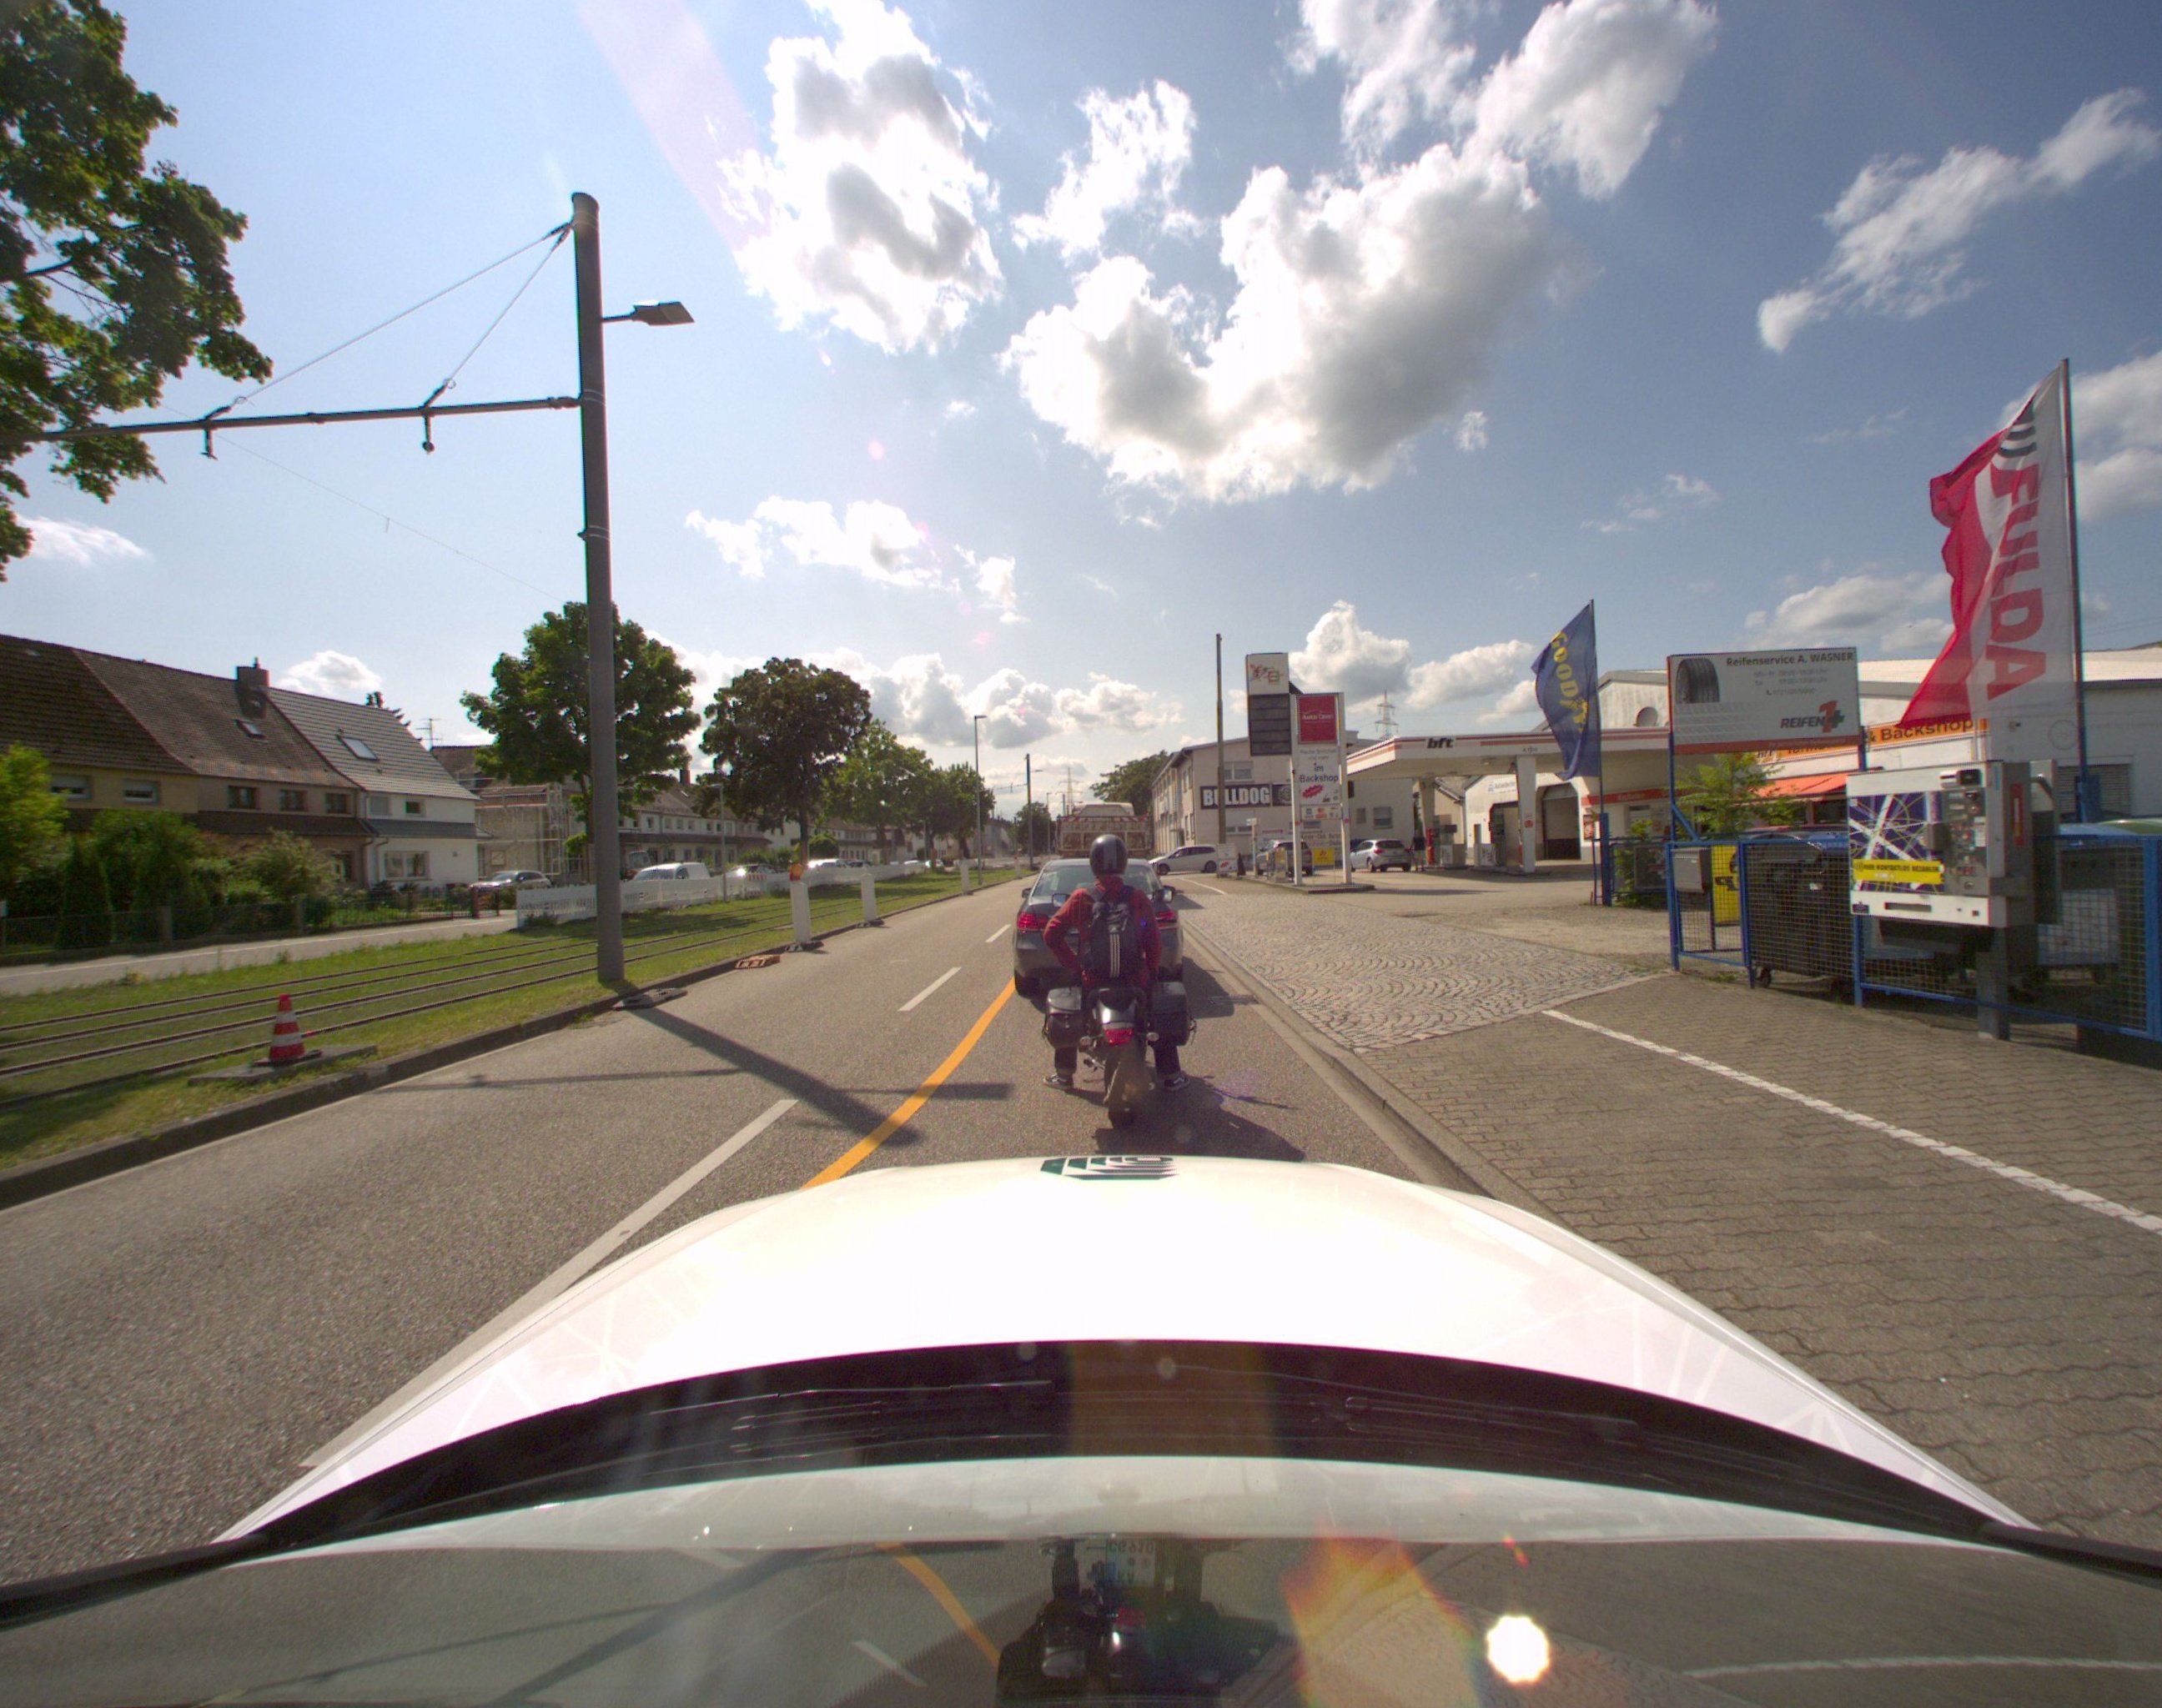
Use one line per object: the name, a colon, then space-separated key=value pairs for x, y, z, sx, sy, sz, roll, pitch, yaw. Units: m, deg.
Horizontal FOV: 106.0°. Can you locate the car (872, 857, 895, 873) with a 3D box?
car: x=-24.048 y=1.341 z=99.338 sx=1.692 sy=1.739 sz=4.064 roll=-2 pitch=0 yaw=2

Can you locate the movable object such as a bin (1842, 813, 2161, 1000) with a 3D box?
movable object such as a bin: x=8.107 y=0.416 z=7.278 sx=1.222 sy=1.454 sz=1.455 roll=-2 pitch=0 yaw=0

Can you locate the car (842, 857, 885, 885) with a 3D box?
car: x=-14.866 y=1.143 z=55.755 sx=1.692 sy=1.739 sz=3.862 roll=-2 pitch=0 yaw=2

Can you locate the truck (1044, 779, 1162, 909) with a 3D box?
truck: x=0.645 y=-0.280 z=25.602 sx=2.960 sy=3.304 sz=8.407 roll=-2 pitch=0 yaw=1

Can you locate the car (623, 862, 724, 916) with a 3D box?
car: x=-15.415 y=1.280 z=31.053 sx=1.692 sy=1.817 sz=3.862 roll=-2 pitch=0 yaw=2

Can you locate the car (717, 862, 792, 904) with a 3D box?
car: x=-15.323 y=1.327 z=38.484 sx=1.692 sy=1.739 sz=4.056 roll=-2 pitch=0 yaw=2

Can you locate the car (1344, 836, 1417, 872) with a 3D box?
car: x=13.541 y=-0.021 z=37.067 sx=1.826 sy=1.479 sz=4.009 roll=-3 pitch=0 yaw=1

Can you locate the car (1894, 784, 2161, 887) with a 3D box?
car: x=21.252 y=-0.400 z=18.267 sx=3.972 sy=2.013 sz=2.001 roll=-2 pitch=0 yaw=1

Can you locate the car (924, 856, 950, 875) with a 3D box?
car: x=-14.150 y=1.155 z=80.318 sx=1.692 sy=1.739 sz=3.862 roll=-2 pitch=0 yaw=2

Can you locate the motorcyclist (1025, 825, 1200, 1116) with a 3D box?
motorcyclist: x=0.198 y=0.654 z=5.193 sx=0.966 sy=1.633 sz=1.215 roll=-1 pitch=0 yaw=1

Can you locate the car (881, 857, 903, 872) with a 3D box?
car: x=-24.377 y=1.350 z=105.362 sx=1.692 sy=1.739 sz=4.064 roll=-2 pitch=0 yaw=2

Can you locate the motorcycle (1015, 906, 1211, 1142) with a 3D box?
motorcycle: x=0.198 y=0.932 z=5.311 sx=0.972 sy=1.013 sz=2.433 roll=-1 pitch=0 yaw=2

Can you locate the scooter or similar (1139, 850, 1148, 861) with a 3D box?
scooter or similar: x=6.568 y=0.154 z=85.768 sx=0.792 sy=1.144 sz=1.520 roll=-2 pitch=0 yaw=2

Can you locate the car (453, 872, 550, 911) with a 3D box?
car: x=-27.477 y=1.733 z=38.790 sx=1.692 sy=1.593 sz=3.862 roll=-2 pitch=0 yaw=2

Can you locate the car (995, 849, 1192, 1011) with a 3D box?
car: x=0.151 y=0.722 z=9.840 sx=1.826 sy=1.479 sz=4.009 roll=-3 pitch=0 yaw=1

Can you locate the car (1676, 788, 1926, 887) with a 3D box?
car: x=16.605 y=-0.370 z=18.960 sx=3.972 sy=2.013 sz=2.001 roll=-2 pitch=0 yaw=1

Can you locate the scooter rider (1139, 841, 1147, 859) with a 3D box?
scooter rider: x=6.545 y=-0.406 z=85.822 sx=0.792 sy=1.818 sz=0.508 roll=-2 pitch=0 yaw=1

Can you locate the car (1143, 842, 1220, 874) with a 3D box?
car: x=5.768 y=0.230 z=47.047 sx=4.101 sy=1.624 sz=1.682 roll=-3 pitch=0 yaw=-7

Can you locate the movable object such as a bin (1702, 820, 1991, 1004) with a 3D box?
movable object such as a bin: x=6.828 y=0.471 z=7.402 sx=1.222 sy=1.454 sz=1.455 roll=-2 pitch=0 yaw=0

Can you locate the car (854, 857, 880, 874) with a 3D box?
car: x=-24.463 y=1.307 z=93.135 sx=1.692 sy=1.739 sz=4.064 roll=-2 pitch=0 yaw=2

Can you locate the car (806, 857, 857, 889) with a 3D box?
car: x=-15.089 y=1.115 z=49.389 sx=1.692 sy=1.739 sz=3.862 roll=-2 pitch=0 yaw=2

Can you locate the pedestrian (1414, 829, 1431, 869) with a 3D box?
pedestrian: x=14.844 y=-0.208 z=35.386 sx=0.628 sy=1.683 sz=0.626 roll=-2 pitch=0 yaw=23

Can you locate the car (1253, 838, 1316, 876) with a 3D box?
car: x=9.071 y=0.124 z=36.574 sx=1.826 sy=1.536 sz=4.009 roll=-3 pitch=0 yaw=1

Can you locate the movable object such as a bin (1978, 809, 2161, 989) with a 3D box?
movable object such as a bin: x=9.453 y=0.336 z=7.188 sx=1.425 sy=1.454 sz=1.455 roll=-2 pitch=0 yaw=0

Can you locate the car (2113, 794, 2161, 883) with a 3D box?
car: x=26.355 y=-0.433 z=18.183 sx=3.972 sy=2.013 sz=2.001 roll=-2 pitch=0 yaw=1
